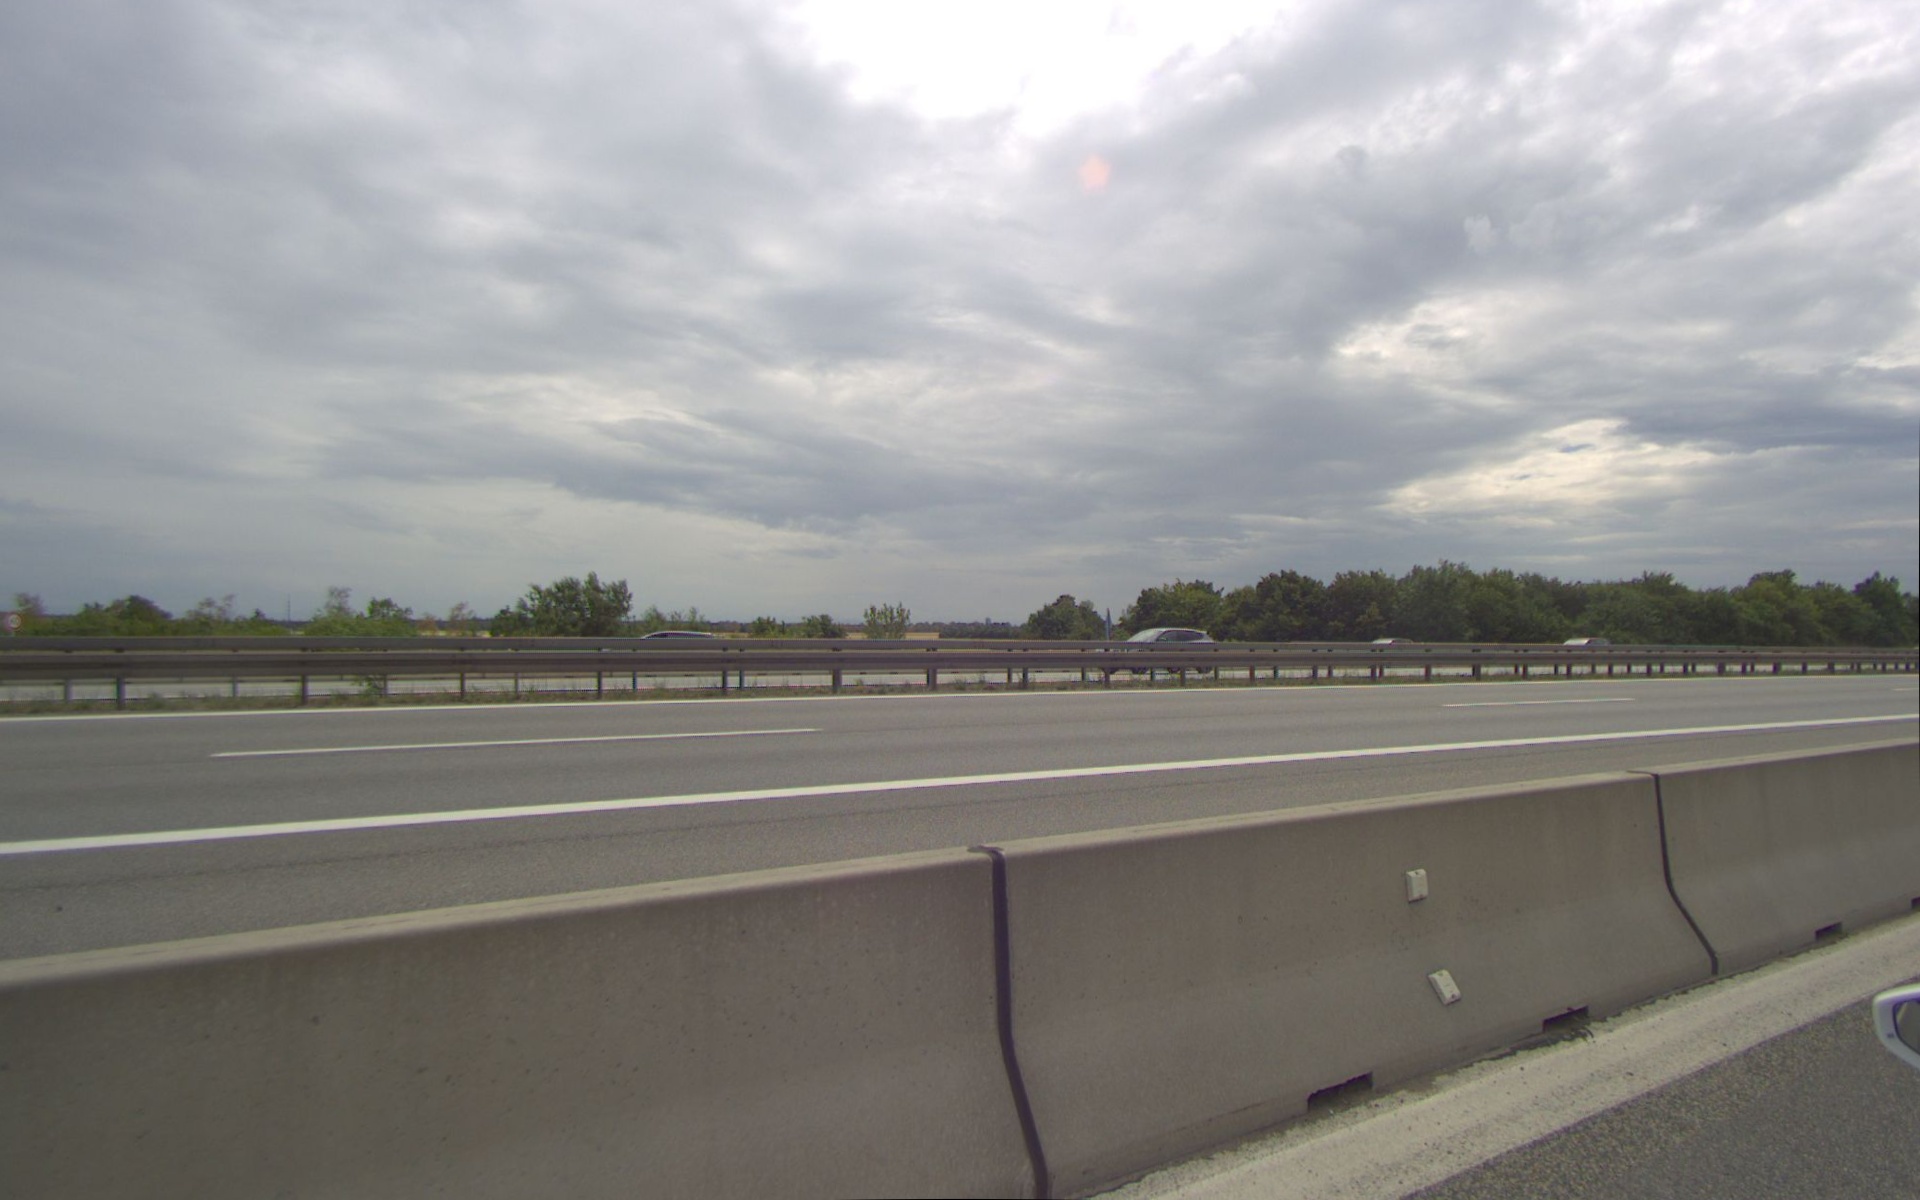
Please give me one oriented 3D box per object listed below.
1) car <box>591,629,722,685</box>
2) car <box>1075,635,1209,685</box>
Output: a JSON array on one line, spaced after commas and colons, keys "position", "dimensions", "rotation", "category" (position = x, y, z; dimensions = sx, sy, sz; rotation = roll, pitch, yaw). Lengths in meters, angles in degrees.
[{"position": [-10.124, 1.872, 33.506], "dimensions": [3.948, 1.728, 1.823], "rotation": [1, 0, -27], "category": "car"}, {"position": [5.751, 1.858, 31.698], "dimensions": [3.949, 1.417, 1.698], "rotation": [1, 0, -28], "category": "car"}]
